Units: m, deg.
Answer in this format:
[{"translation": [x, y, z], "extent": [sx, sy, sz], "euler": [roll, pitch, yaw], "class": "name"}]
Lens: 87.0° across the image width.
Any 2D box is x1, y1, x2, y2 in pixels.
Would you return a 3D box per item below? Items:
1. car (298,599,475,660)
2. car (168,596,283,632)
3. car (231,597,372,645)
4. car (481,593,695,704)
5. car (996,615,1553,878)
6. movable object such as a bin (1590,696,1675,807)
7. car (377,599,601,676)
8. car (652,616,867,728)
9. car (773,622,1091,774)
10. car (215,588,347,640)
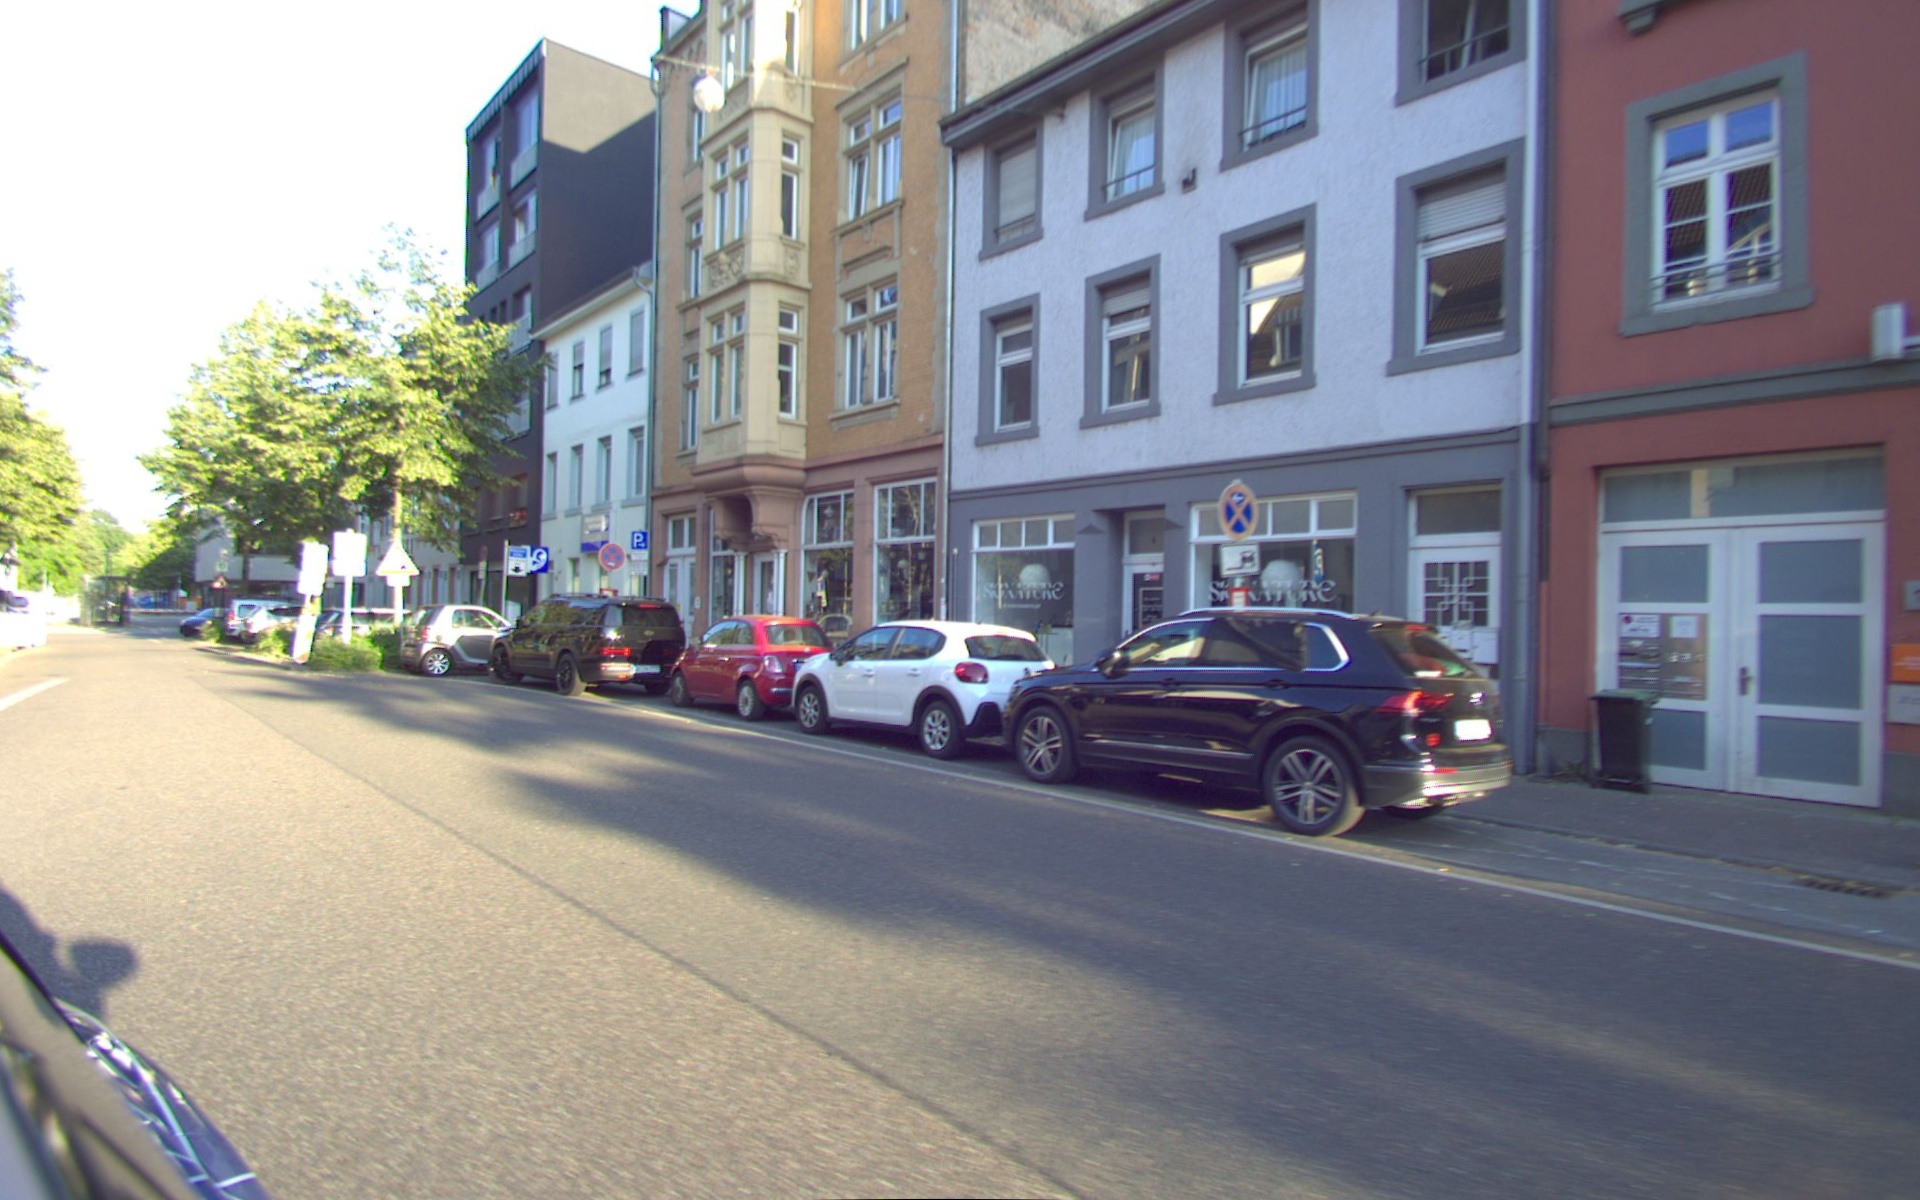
[{"translation": [-16.019, 0.837, 28.381], "extent": [1.960, 1.593, 3.857], "euler": [0, -2, 43], "class": "car"}, {"translation": [-36.718, 0.723, 50.709], "extent": [2.049, 1.640, 4.150], "euler": [1, -2, 30], "class": "car"}, {"translation": [-24.809, 0.819, 38.193], "extent": [1.998, 1.689, 4.074], "euler": [0, -2, 45], "class": "car"}, {"translation": [-6.842, 0.811, 18.386], "extent": [4.220, 1.766, 2.026], "euler": [0, -2, 45], "class": "car"}, {"translation": [2.403, 0.985, 8.602], "extent": [1.744, 1.626, 4.223], "euler": [3, -2, -41], "class": "car"}, {"translation": [6.266, 1.391, 9.431], "extent": [0.583, 0.923, 0.484], "euler": [0, -1, 44], "class": "movable object such as a bin"}, {"translation": [-10.676, 0.850, 23.131], "extent": [2.056, 1.593, 4.134], "euler": [0, -2, 43], "class": "car"}, {"translation": [-3.152, 1.020, 15.501], "extent": [1.664, 1.475, 3.547], "euler": [3, -2, -41], "class": "car"}, {"translation": [-0.467, 1.049, 12.203], "extent": [1.744, 1.475, 3.872], "euler": [3, -2, -41], "class": "car"}, {"translation": [-28.180, 0.603, 42.088], "extent": [2.056, 1.998, 4.134], "euler": [0, -2, 43], "class": "car"}]
